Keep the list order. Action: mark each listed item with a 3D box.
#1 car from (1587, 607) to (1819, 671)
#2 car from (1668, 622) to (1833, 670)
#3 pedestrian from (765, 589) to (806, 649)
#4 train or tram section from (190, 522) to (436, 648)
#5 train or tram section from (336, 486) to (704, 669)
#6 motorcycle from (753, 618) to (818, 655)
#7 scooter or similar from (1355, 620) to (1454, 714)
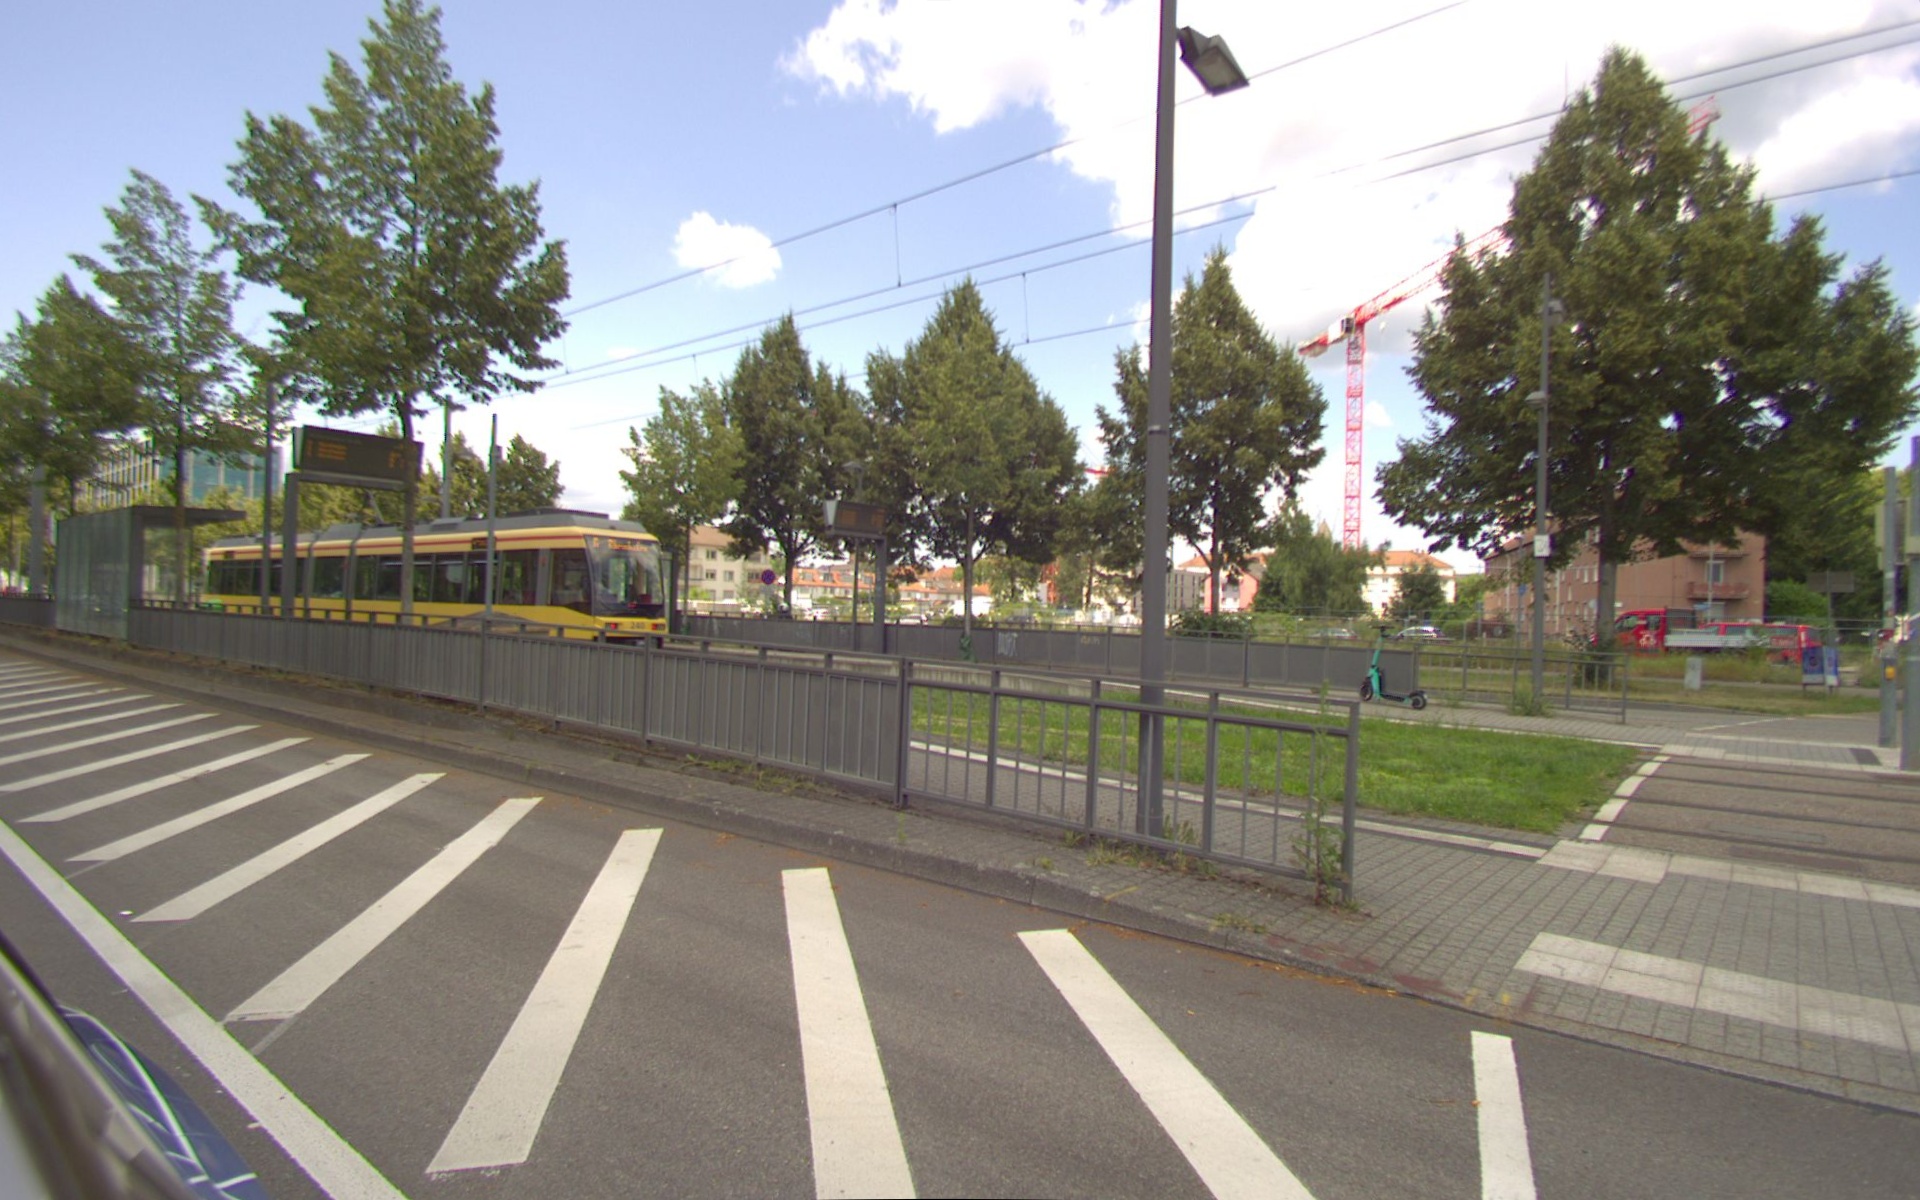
[{"bbox_3d":[28.321,1.411,38.955,2.353,2.214,6.860,2,-1,-27],"label":"car"},{"bbox_3d":[33.700,1.931,43.330,2.052,1.866,5.200,2,-1,-32],"label":"car"},{"bbox_3d":[-5.014,0.545,29.060,0.773,1.685,0.815,0,-2,41],"label":"pedestrian"},{"bbox_3d":[-22.808,-0.431,34.993,14.649,3.666,2.660,0,-1,39],"label":"train or tram section"},{"bbox_3d":[-11.926,-0.452,26.139,13.463,3.768,2.814,0,-1,39],"label":"train or tram section"},{"bbox_3d":[-5.035,1.024,29.084,2.194,1.001,0.564,0,-1,42],"label":"motorcycle"},{"bbox_3d":[6.787,0.995,15.498,0.412,1.311,1.350,2,1,-30],"label":"scooter or similar"}]
